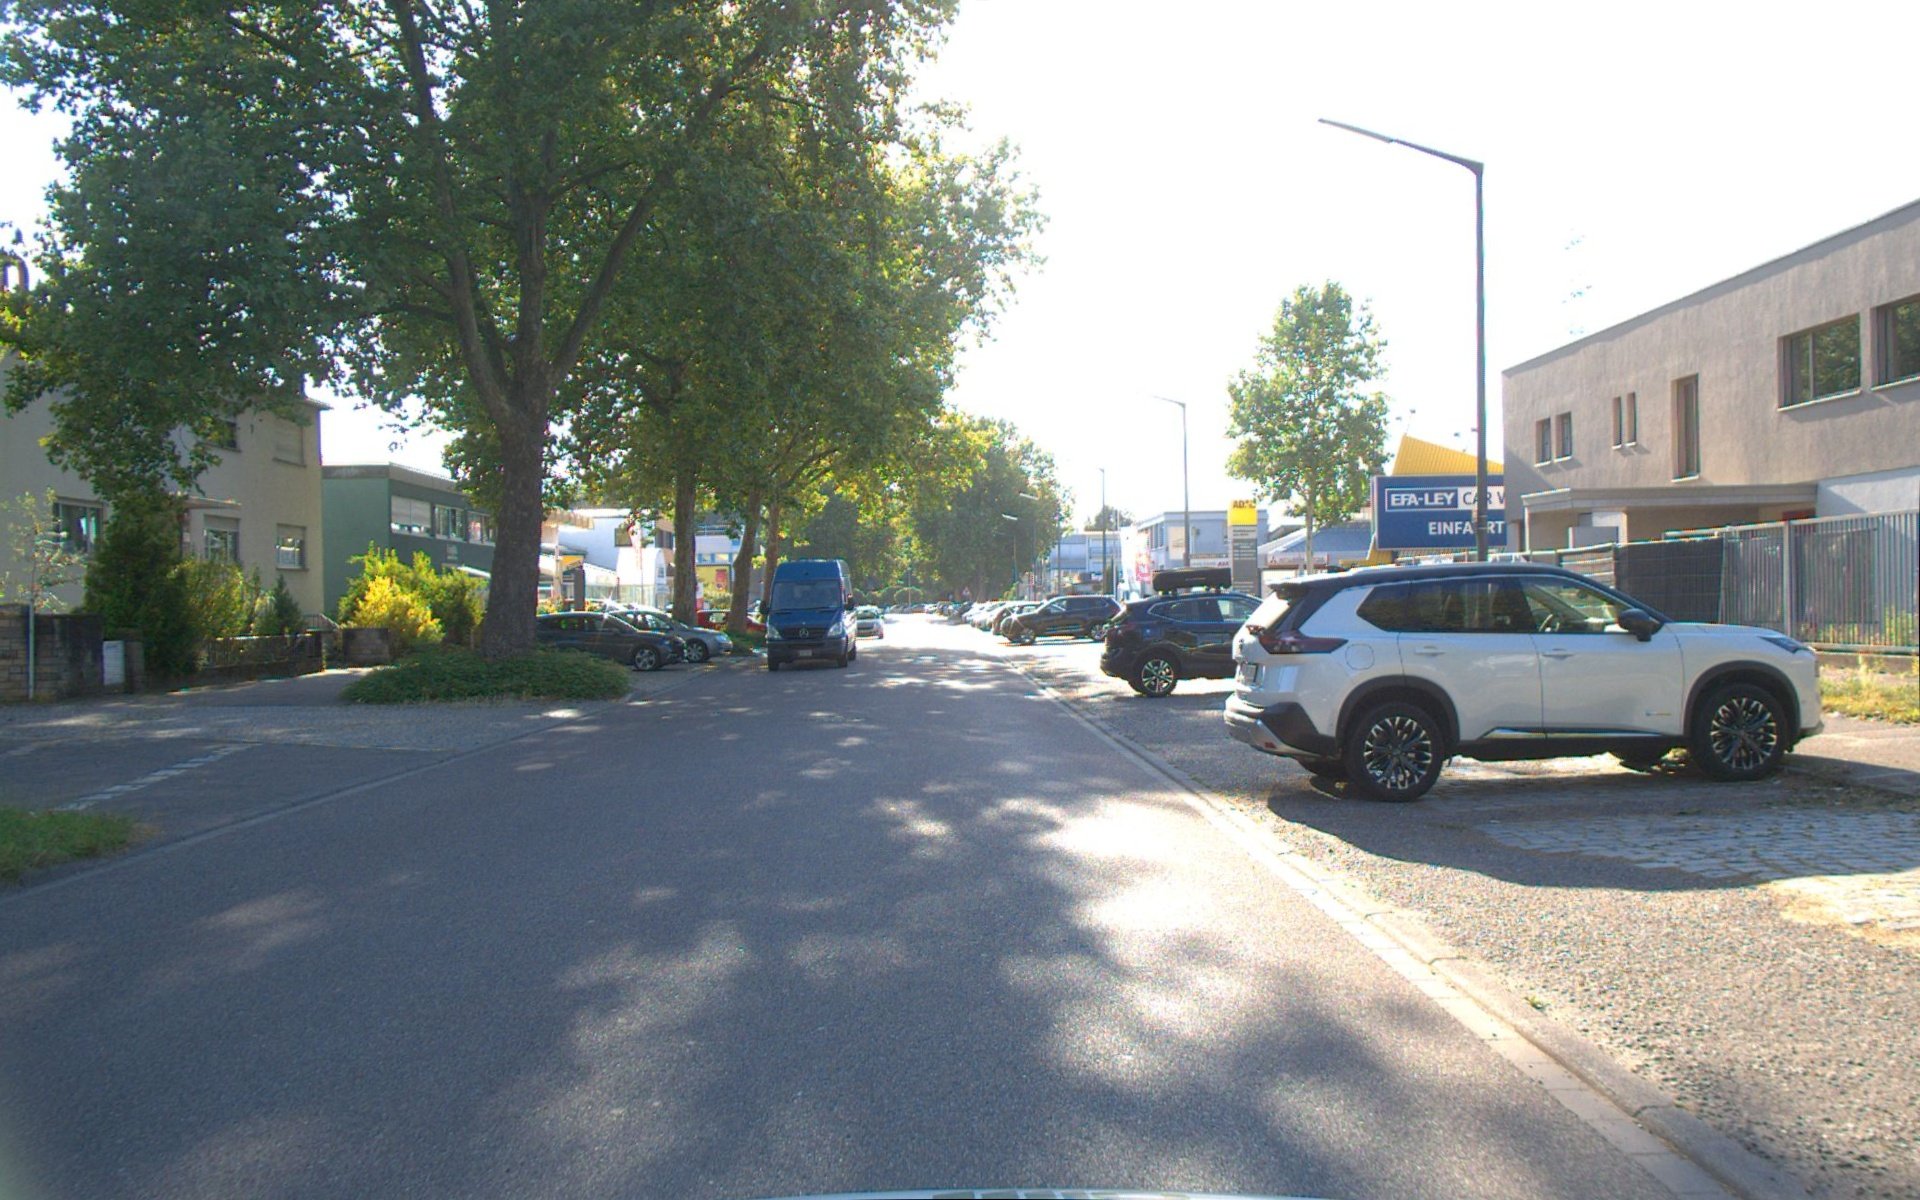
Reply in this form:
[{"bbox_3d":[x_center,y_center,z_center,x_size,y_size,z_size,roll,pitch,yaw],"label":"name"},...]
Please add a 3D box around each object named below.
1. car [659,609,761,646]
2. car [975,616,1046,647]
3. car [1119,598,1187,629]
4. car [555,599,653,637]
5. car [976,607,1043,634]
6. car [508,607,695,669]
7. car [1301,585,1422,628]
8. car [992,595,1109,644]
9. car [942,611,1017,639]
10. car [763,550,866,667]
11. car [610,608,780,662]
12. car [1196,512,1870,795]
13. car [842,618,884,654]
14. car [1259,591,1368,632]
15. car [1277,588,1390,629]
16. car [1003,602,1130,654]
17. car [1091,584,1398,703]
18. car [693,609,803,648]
[{"bbox_3d":[-13.350,1.461,88.489,5.153,1.932,2.201,1,-1,-2],"label":"car"},{"bbox_3d":[2.898,1.805,95.866,3.909,1.615,1.865,-2,-1,-5],"label":"car"},{"bbox_3d":[12.458,0.848,106.823,4.060,1.802,1.999,-2,-1,-1],"label":"car"},{"bbox_3d":[-18.263,0.939,85.021,4.651,1.851,1.999,1,-1,-3],"label":"car"},{"bbox_3d":[3.484,1.476,117.461,4.466,1.625,2.200,-4,-1,-4],"label":"car"},{"bbox_3d":[-8.835,0.915,41.041,4.267,1.447,1.999,-1,0,-4],"label":"car"},{"bbox_3d":[14.783,0.257,61.031,3.909,1.523,1.998,1,-1,-6],"label":"car"},{"bbox_3d":[3.653,0.791,67.053,4.509,1.641,1.999,-4,-1,-2],"label":"car"},{"bbox_3d":[1.033,1.321,87.624,3.904,1.319,1.784,-2,-1,1],"label":"car"},{"bbox_3d":[-3.615,0.175,42.368,2.084,2.706,6.999,-1,0,-1],"label":"car"},{"bbox_3d":[-7.421,0.970,46.698,4.507,1.447,1.999,-1,0,-2],"label":"car"},{"bbox_3d":[4.349,0.392,13.069,4.533,1.741,1.999,-4,-1,-3],"label":"car"},{"bbox_3d":[-4.558,1.687,78.511,1.801,1.598,3.800,-3,-1,-2],"label":"car"},{"bbox_3d":[14.370,0.481,67.316,3.909,1.623,1.998,1,-1,-6],"label":"car"},{"bbox_3d":[14.547,0.336,64.598,3.909,1.546,1.951,1,-1,-6],"label":"car"},{"bbox_3d":[3.920,1.036,61.504,4.507,1.607,2.000,-4,-1,1],"label":"car"},{"bbox_3d":[4.549,0.688,26.910,4.533,1.553,1.999,-4,-1,-3],"label":"car"},{"bbox_3d":[-8.525,1.151,66.922,4.209,1.472,1.999,1,-1,-2],"label":"car"}]
